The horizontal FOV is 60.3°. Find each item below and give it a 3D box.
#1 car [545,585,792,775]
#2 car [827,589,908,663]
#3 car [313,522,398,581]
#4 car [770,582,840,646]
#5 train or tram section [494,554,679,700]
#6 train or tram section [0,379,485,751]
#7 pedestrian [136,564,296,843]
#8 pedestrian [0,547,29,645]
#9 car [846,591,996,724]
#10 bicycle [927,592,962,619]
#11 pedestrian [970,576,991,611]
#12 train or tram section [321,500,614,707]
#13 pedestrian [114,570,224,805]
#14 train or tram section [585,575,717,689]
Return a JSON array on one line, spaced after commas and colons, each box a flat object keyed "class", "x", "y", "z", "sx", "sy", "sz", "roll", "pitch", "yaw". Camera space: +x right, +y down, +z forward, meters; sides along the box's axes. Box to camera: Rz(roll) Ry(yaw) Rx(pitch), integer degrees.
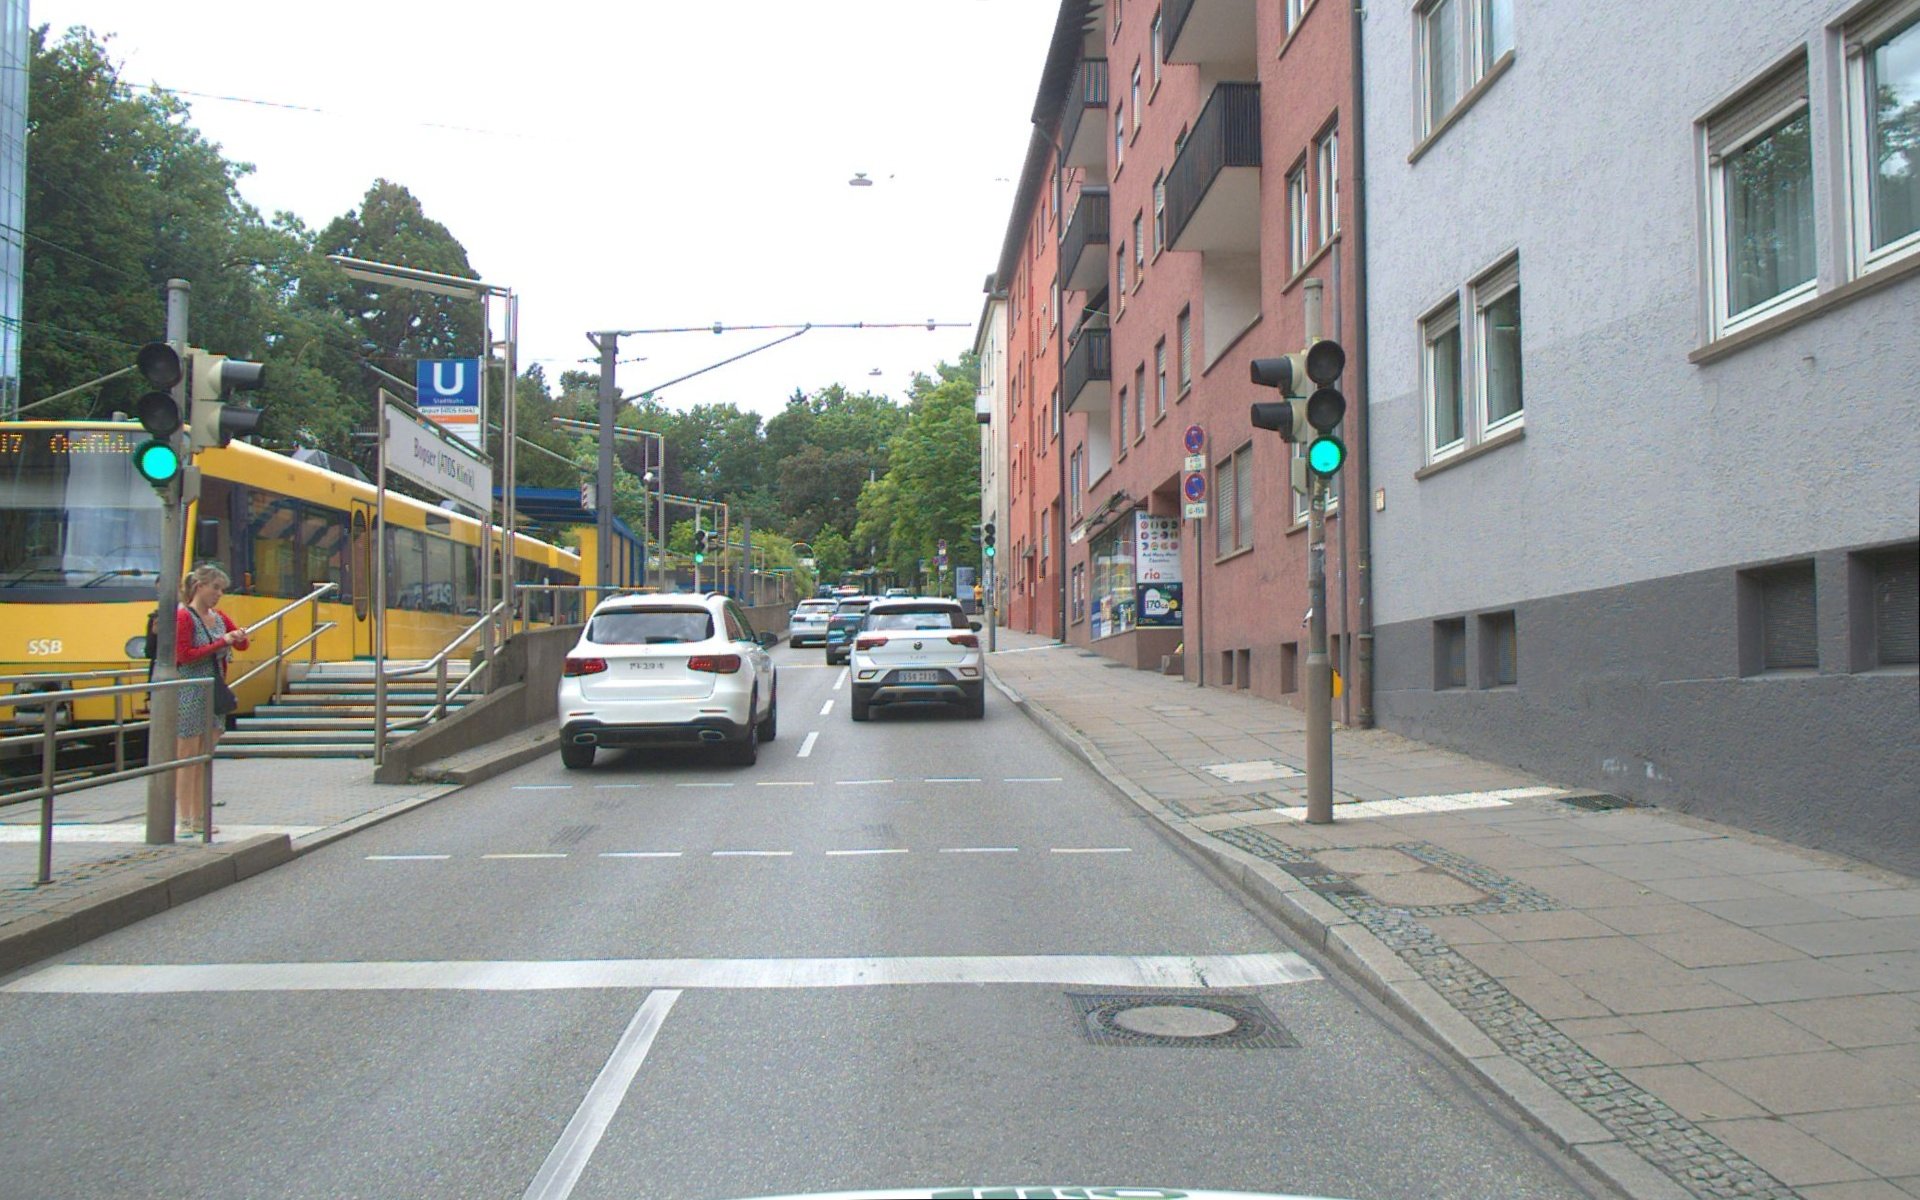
[{"class": "car", "x": -2.837, "y": 0.698, "z": 17.019, "sx": 1.839, "sy": 1.681, "sz": 4.340, "roll": 0, "pitch": 1, "yaw": -1}, {"class": "car", "x": -2.157, "y": 0.571, "z": 39.384, "sx": 1.823, "sy": 1.660, "sz": 3.958, "roll": 0, "pitch": 1, "yaw": -2}, {"class": "car", "x": -22.758, "y": -1.787, "z": 62.418, "sx": 1.954, "sy": 2.049, "sz": 3.996, "roll": 2, "pitch": -1, "yaw": -4}, {"class": "car", "x": -4.826, "y": 0.399, "z": 51.967, "sx": 1.954, "sy": 1.914, "sz": 3.998, "roll": 1, "pitch": 1, "yaw": -3}, {"class": "train or tram section", "x": -10.240, "y": 0.843, "z": 46.820, "sx": 2.890, "sy": 3.545, "sz": 12.211, "roll": -1, "pitch": -2, "yaw": -2}, {"class": "train or tram section", "x": -9.402, "y": -0.132, "z": 22.233, "sx": 2.890, "sy": 3.606, "sz": 12.390, "roll": 0, "pitch": -2, "yaw": -2}, {"class": "pedestrian", "x": -4.710, "y": 0.629, "z": 10.504, "sx": 0.664, "sy": 1.709, "sz": 0.686, "roll": 0, "pitch": 0, "yaw": 6}, {"class": "pedestrian", "x": -16.333, "y": -0.065, "z": 27.777, "sx": 0.956, "sy": 1.623, "sz": 0.765, "roll": 0, "pitch": 0, "yaw": -2}, {"class": "car", "x": -0.515, "y": 0.703, "z": 22.525, "sx": 1.827, "sy": 1.583, "sz": 3.894, "roll": -2, "pitch": 1, "yaw": -1}, {"class": "bicycle", "x": -0.724, "y": 0.256, "z": 76.469, "sx": 0.632, "sy": 1.162, "sz": 2.046, "roll": -9, "pitch": 4, "yaw": -27}, {"class": "pedestrian", "x": 1.053, "y": -0.334, "z": 83.584, "sx": 0.819, "sy": 1.742, "sz": 0.818, "roll": -2, "pitch": 0, "yaw": -16}, {"class": "train or tram section", "x": -9.750, "y": 0.359, "z": 34.555, "sx": 2.890, "sy": 3.533, "sz": 12.210, "roll": -1, "pitch": -3, "yaw": -2}, {"class": "pedestrian", "x": -5.994, "y": 0.641, "z": 12.560, "sx": 0.610, "sy": 1.725, "sz": 0.658, "roll": 0, "pitch": 0, "yaw": -12}, {"class": "train or tram section", "x": -10.830, "y": 1.136, "z": 59.378, "sx": 2.890, "sy": 3.570, "sz": 12.977, "roll": -1, "pitch": -1, "yaw": -3}]
